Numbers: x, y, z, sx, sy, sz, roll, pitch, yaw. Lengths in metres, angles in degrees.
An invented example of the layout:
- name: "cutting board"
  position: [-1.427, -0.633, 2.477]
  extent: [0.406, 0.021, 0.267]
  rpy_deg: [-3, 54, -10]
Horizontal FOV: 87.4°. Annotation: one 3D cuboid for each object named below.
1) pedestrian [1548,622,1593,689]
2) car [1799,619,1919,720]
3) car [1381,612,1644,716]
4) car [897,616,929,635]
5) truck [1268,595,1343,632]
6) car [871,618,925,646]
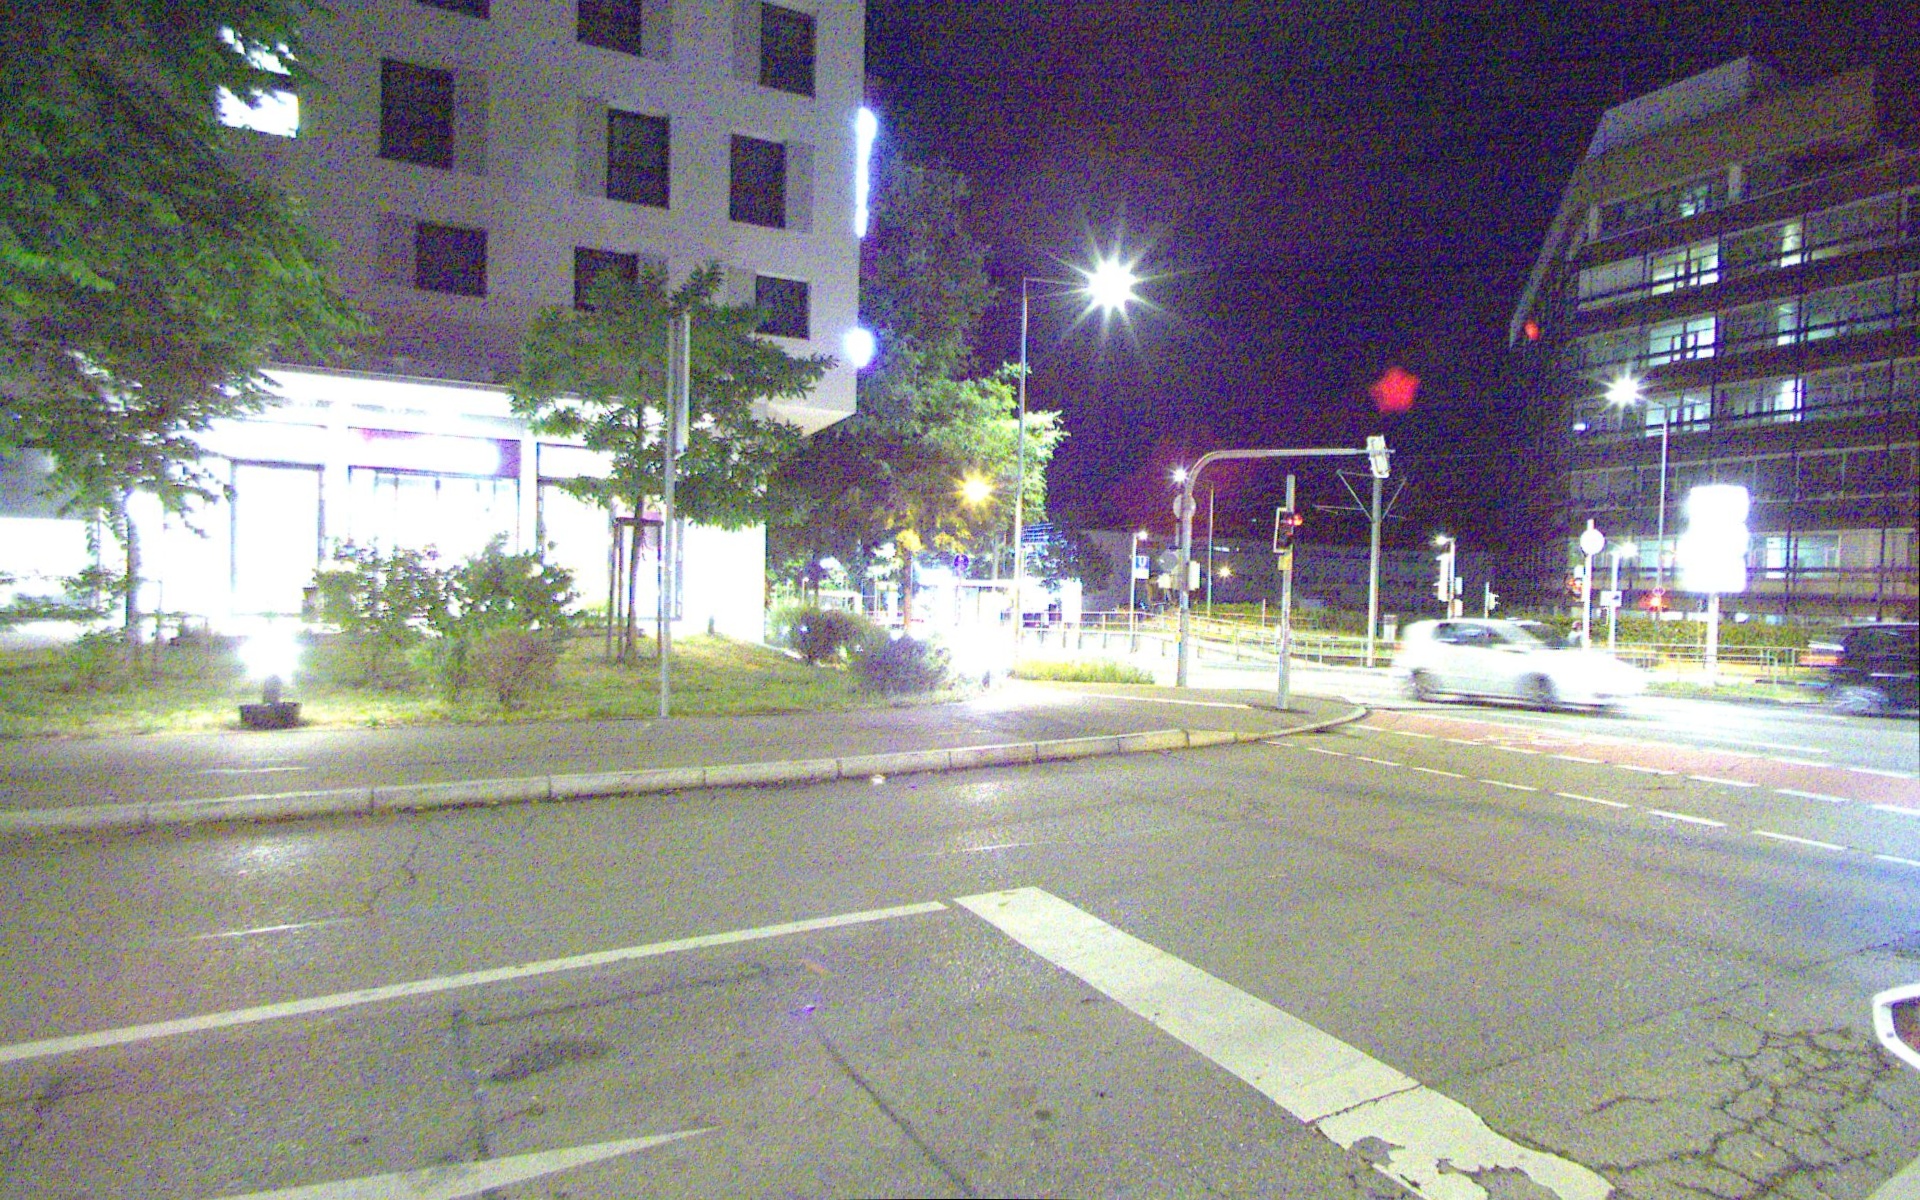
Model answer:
- name: "pedestrian"
  position: [15.588, 1.417, 25.648]
  extent: [0.854, 1.656, 0.665]
  rpy_deg: [2, 0, -34]
- name: "car"
  position: [17.186, 1.188, 16.856]
  extent: [1.839, 1.681, 4.431]
  rpy_deg: [2, -1, -26]
- name: "car"
  position: [9.997, 1.100, 18.507]
  extent: [1.786, 1.684, 3.975]
  rpy_deg: [2, -2, -25]
- name: "car"
  position: [-5.276, 2.884, 112.804]
  extent: [1.976, 2.040, 3.971]
  rpy_deg: [2, -3, -29]
- name: "truck"
  position: [30.769, 1.182, 89.672]
  extent: [2.877, 3.129, 5.873]
  rpy_deg: [2, 0, -28]
- name: "car"
  position: [-3.599, 1.798, 57.277]
  extent: [1.793, 1.522, 4.177]
  rpy_deg: [0, -1, -23]
